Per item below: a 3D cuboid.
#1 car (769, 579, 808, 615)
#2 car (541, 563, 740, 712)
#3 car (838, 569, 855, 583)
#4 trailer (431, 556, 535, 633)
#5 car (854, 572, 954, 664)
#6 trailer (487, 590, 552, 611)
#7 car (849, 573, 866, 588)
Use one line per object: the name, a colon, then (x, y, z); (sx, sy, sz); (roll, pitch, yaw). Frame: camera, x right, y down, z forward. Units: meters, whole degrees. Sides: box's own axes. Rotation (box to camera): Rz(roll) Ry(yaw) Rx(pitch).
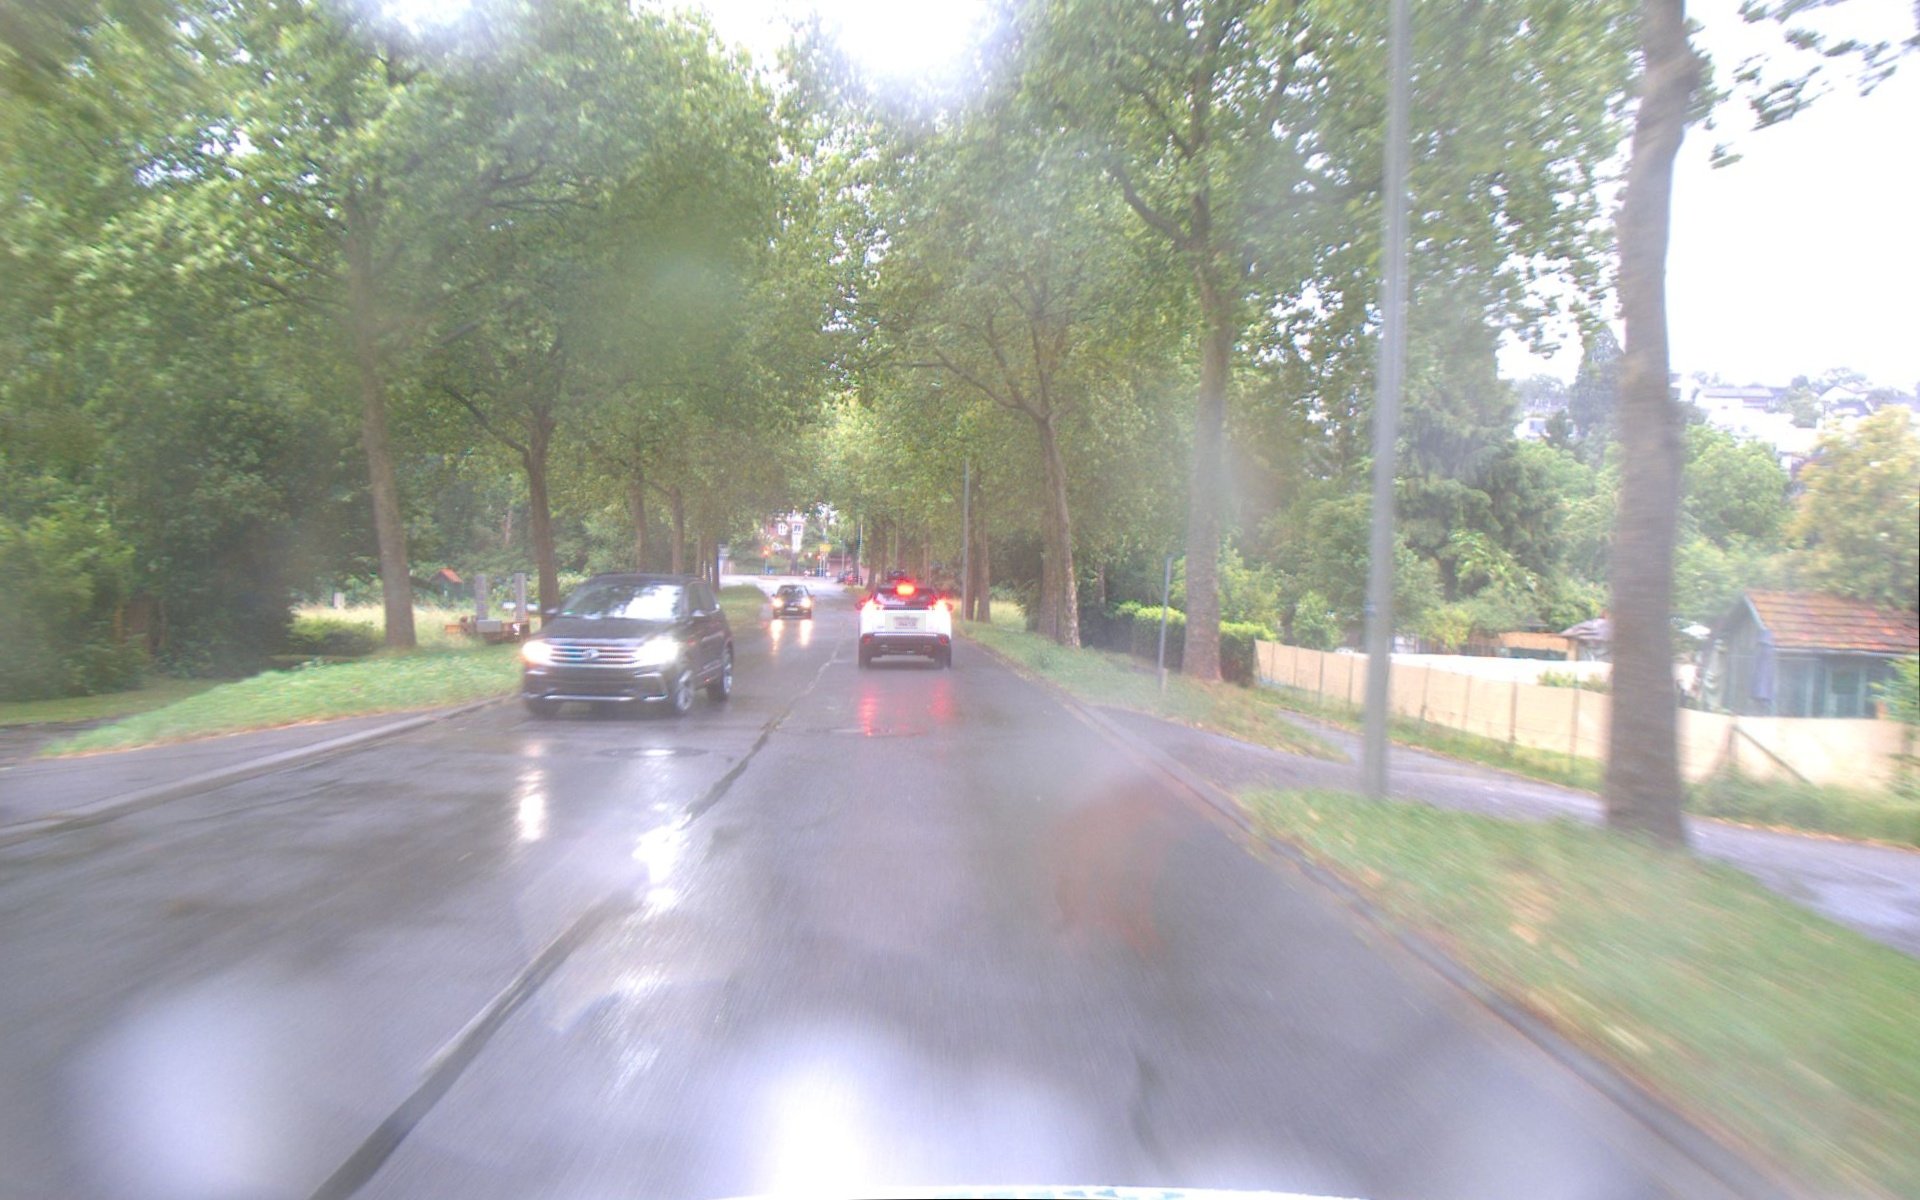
car: (-7.708, -0.155, 74.356); (1.674, 1.512, 3.876); (2, 0, -6)
car: (-3.841, 0.391, 20.570); (1.696, 1.616, 4.309); (2, 1, -1)
car: (-13.522, -2.892, 197.094); (1.790, 1.624, 3.653); (2, 1, -2)
trailer: (-17.219, -0.220, 60.037); (2.435, 2.612, 5.329); (2, 1, -4)
car: (-1.055, 0.293, 31.925); (1.757, 1.606, 3.844); (2, 1, -1)
trailer: (-25.471, 0.020, 95.779); (3.490, 1.199, 1.818); (0, 1, -11)
car: (-11.631, -2.230, 187.449); (1.790, 1.624, 3.653); (2, 1, -2)
